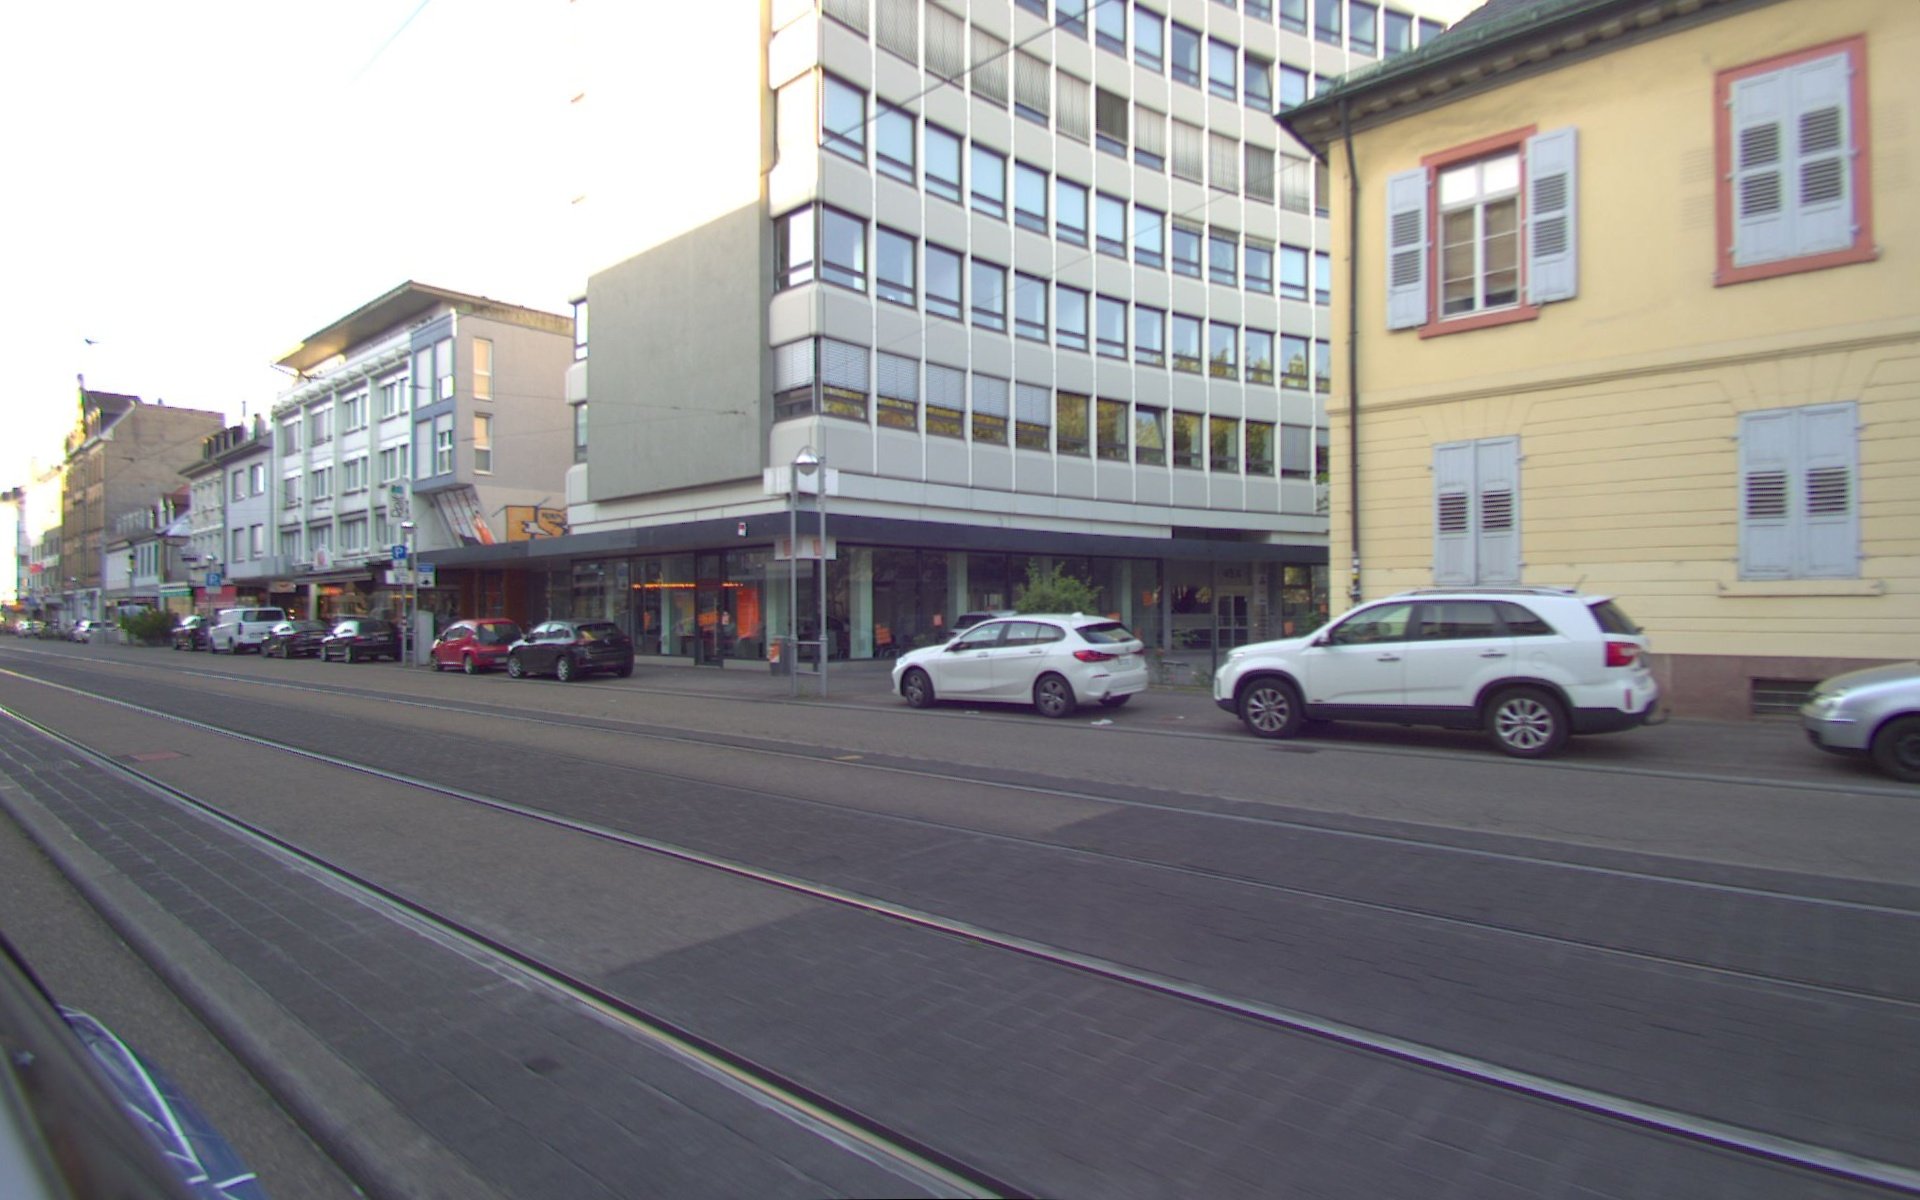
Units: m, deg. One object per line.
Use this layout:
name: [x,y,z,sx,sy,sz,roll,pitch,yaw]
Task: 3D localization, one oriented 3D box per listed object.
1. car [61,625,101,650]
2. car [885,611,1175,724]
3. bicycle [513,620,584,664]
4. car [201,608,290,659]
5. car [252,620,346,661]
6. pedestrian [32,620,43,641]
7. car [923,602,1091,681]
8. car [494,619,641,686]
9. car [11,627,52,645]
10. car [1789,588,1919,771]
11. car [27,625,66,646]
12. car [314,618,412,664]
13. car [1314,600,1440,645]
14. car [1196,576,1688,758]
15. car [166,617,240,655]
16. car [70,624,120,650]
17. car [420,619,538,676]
car: [-61.022,2.558,70.263,3.469,1.582,1.638,-1,1,42]
car: [0.971,0.954,15.633,4.281,1.464,1.703,-2,0,41]
bicycle: [-13.800,1.401,33.969,0.875,1.350,2.025,-1,1,41]
car: [-31.165,1.410,44.100,5.096,2.029,1.944,-1,1,40]
car: [-25.551,1.518,39.075,4.569,1.437,1.852,-1,1,41]
pedestrian: [-92.756,3.032,101.752,0.738,2.029,1.050,-2,1,-44]
car: [1.173,0.887,23.446,1.912,1.564,3.948,-1,1,39]
car: [-9.660,1.241,24.790,3.963,1.436,1.674,-2,1,41]
car: [-81.520,3.160,88.830,4.399,1.431,1.974,-1,1,39]
car: [9.397,0.625,8.263,3.998,1.485,1.730,-2,0,41]
car: [-72.754,2.788,80.588,3.815,1.504,1.822,-1,1,42]
car: [-20.455,1.358,34.597,4.090,1.472,1.771,-1,-2,42]
car: [14.852,0.765,36.074,3.931,1.410,1.748,-2,1,-19]
car: [5.327,0.647,11.575,4.756,1.673,1.868,-1,0,39]
car: [-36.927,1.717,49.322,4.586,1.710,1.973,-1,1,41]
car: [-57.232,2.421,66.907,4.621,1.568,1.871,-1,1,42]
car: [-13.403,1.283,28.126,3.590,1.445,1.674,-2,-1,41]
